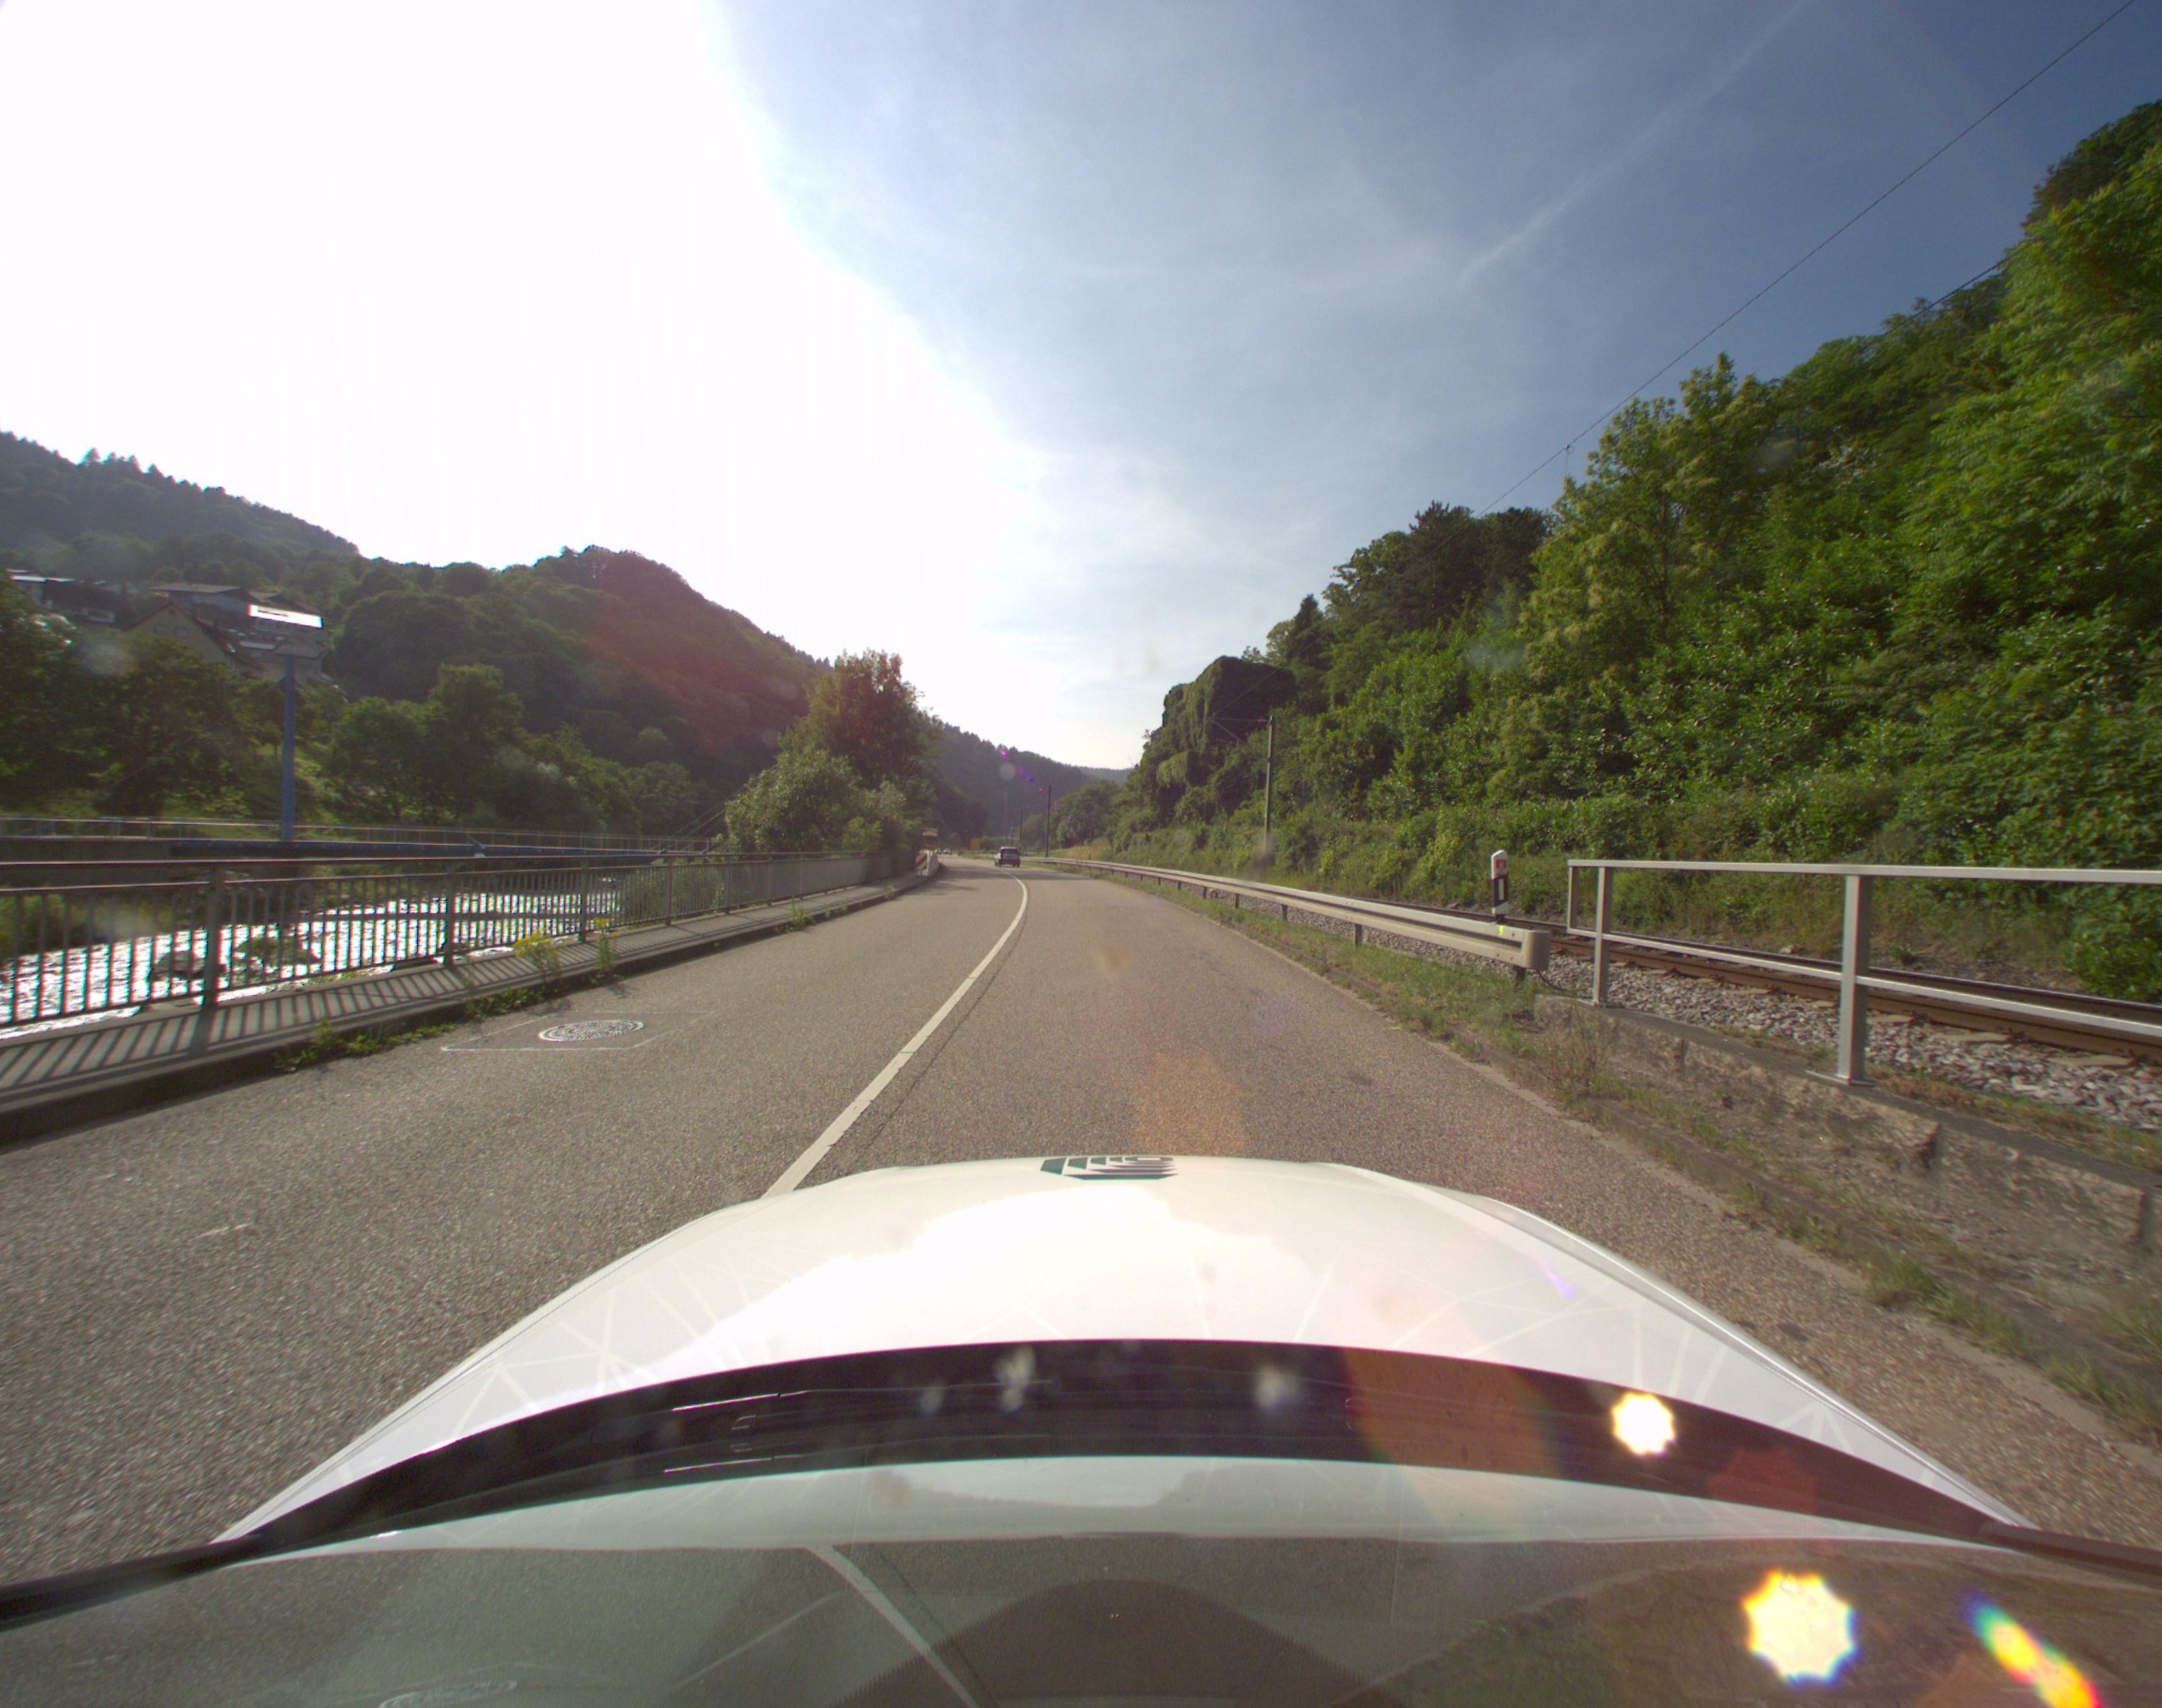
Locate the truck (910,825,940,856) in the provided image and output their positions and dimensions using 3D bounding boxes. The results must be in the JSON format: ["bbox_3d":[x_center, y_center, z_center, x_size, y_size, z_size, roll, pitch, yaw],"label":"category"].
[{"bbox_3d":[-23.523,-1.968,122.223,3.375,4.383,12.644,-1,0,-15],"label":"truck"}]

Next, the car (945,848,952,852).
[{"bbox_3d":[-36.069,-1.019,222.148,1.470,1.084,3.267,4,0,-5],"label":"car"}]

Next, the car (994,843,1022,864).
[{"bbox_3d":[-6.197,-0.048,68.390,1.874,1.656,3.983,0,0,-12],"label":"car"}]
